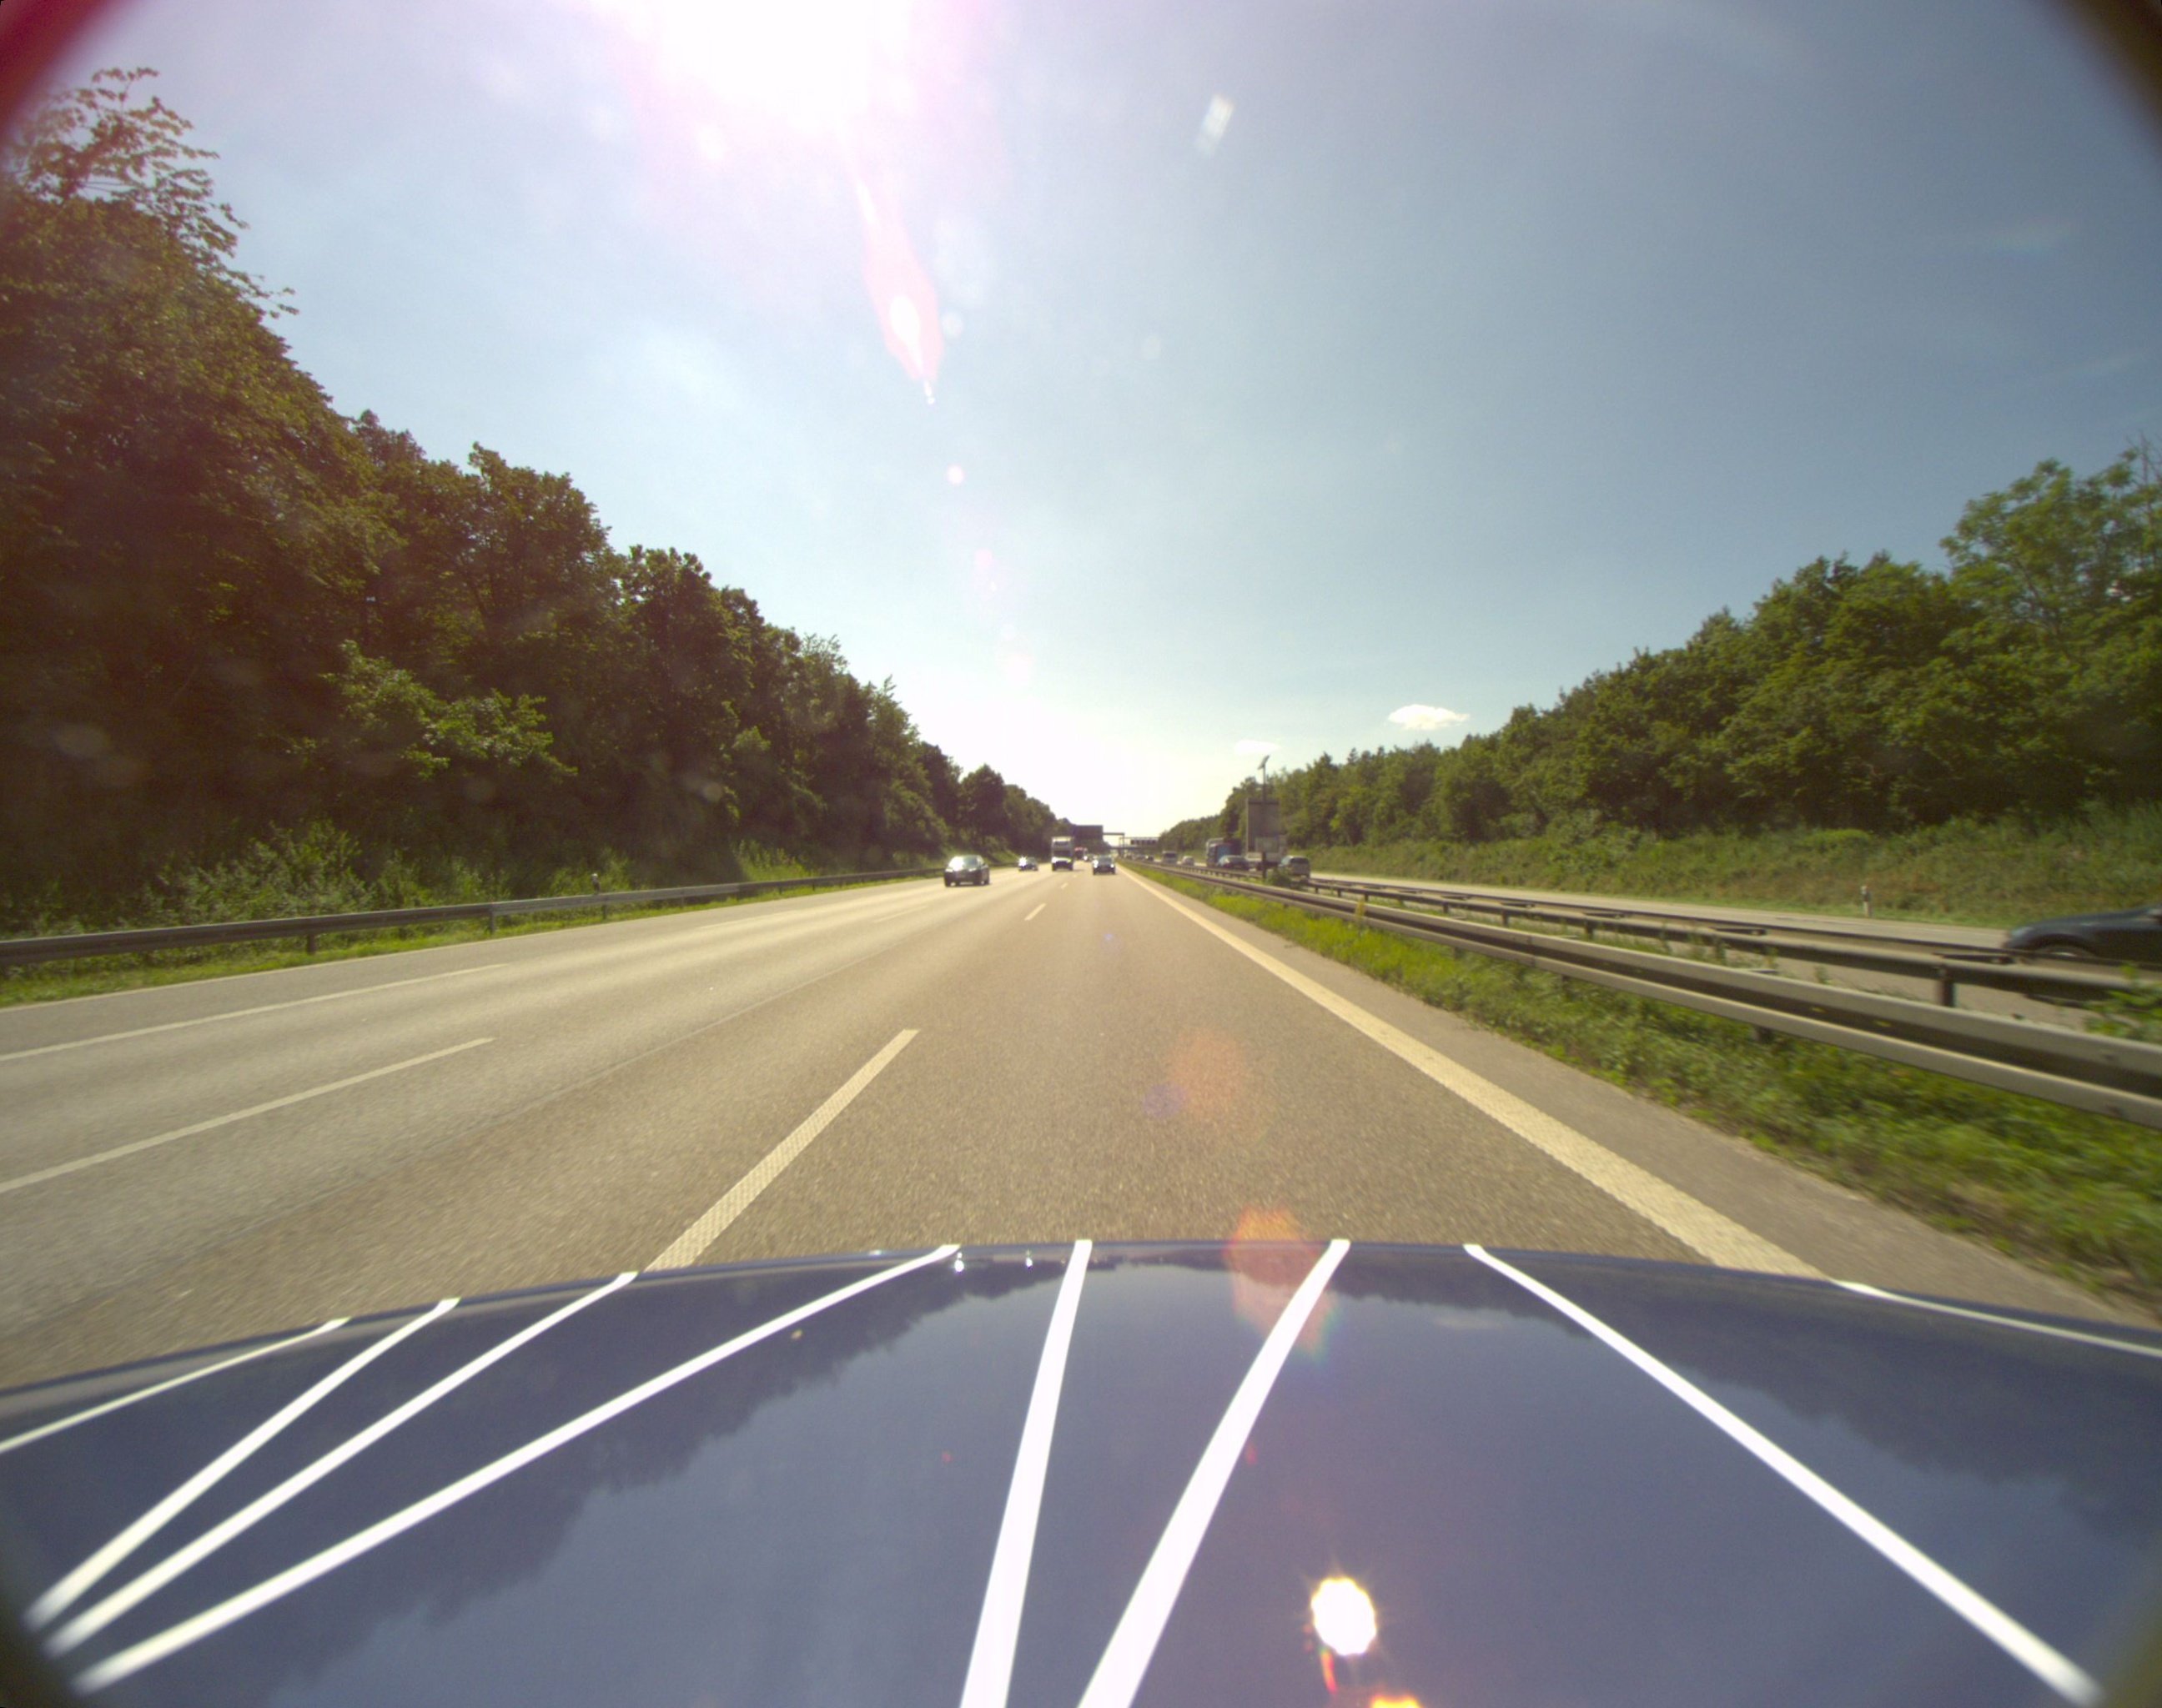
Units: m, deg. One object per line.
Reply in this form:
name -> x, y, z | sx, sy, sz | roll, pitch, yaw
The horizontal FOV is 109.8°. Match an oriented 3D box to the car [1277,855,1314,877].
car -> 15.176, 0.847, 53.969 | 1.679, 1.487, 3.544 | 0, 0, 1

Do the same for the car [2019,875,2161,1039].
car -> 10.221, 0.913, 5.517 | 1.718, 1.390, 4.149 | 0, 0, 1

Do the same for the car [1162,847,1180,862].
car -> 12.369, 0.010, 104.489 | 1.932, 1.969, 5.235 | 2, 0, 1

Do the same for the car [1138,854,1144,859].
car -> 17.153, 0.737, 218.978 | 1.489, 1.348, 4.417 | 0, 0, 1

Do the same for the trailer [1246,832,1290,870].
trailer -> 19.685, -0.322, 80.373 | 2.719, 3.787, 7.692 | 1, 0, 1

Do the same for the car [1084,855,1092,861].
car -> 1.588, 0.873, 174.084 | 1.831, 1.346, 3.679 | 0, 0, 1

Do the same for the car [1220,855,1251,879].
car -> 10.507, 0.856, 51.902 | 1.437, 1.519, 3.457 | 0, 0, 1

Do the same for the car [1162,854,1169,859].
car -> 25.133, 0.806, 226.395 | 1.632, 1.483, 4.941 | 2, 0, 2

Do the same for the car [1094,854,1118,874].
car -> 1.951, 0.772, 59.926 | 1.814, 1.483, 3.729 | 0, 0, 1

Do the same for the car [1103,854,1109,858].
car -> 6.987, 0.556, 214.846 | 1.591, 1.291, 3.382 | 0, 0, 1

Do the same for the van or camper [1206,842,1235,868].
van or camper -> 15.938, 0.087, 86.942 | 2.202, 2.795, 6.798 | 2, 0, 2

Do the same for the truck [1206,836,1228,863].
truck -> 20.708, -0.711, 115.994 | 2.621, 4.035, 4.000 | 2, 0, 1

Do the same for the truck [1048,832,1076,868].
truck -> -1.893, -0.407, 79.242 | 2.676, 3.661, 6.484 | 0, 0, 1

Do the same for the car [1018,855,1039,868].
car -> -5.614, 0.784, 81.721 | 1.916, 1.390, 4.138 | 0, 0, 1

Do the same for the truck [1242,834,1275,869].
truck -> 19.760, -0.244, 84.959 | 2.709, 3.787, 4.000 | 1, 0, 1

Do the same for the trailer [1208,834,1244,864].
trailer -> 20.567, -0.687, 108.645 | 2.621, 4.034, 14.169 | 2, 0, 1

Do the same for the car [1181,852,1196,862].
car -> 16.586, 0.440, 117.588 | 1.717, 1.410, 4.504 | 0, 0, 1

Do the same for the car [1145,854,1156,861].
car -> 14.646, 0.645, 160.090 | 1.812, 1.397, 4.819 | 0, 0, 1

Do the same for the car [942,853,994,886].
car -> -6.280, 0.817, 42.697 | 1.924, 1.659, 4.687 | -2, 0, 3

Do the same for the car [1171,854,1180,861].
car -> 23.630, 0.810, 189.668 | 1.599, 1.559, 4.369 | 2, 0, 1
